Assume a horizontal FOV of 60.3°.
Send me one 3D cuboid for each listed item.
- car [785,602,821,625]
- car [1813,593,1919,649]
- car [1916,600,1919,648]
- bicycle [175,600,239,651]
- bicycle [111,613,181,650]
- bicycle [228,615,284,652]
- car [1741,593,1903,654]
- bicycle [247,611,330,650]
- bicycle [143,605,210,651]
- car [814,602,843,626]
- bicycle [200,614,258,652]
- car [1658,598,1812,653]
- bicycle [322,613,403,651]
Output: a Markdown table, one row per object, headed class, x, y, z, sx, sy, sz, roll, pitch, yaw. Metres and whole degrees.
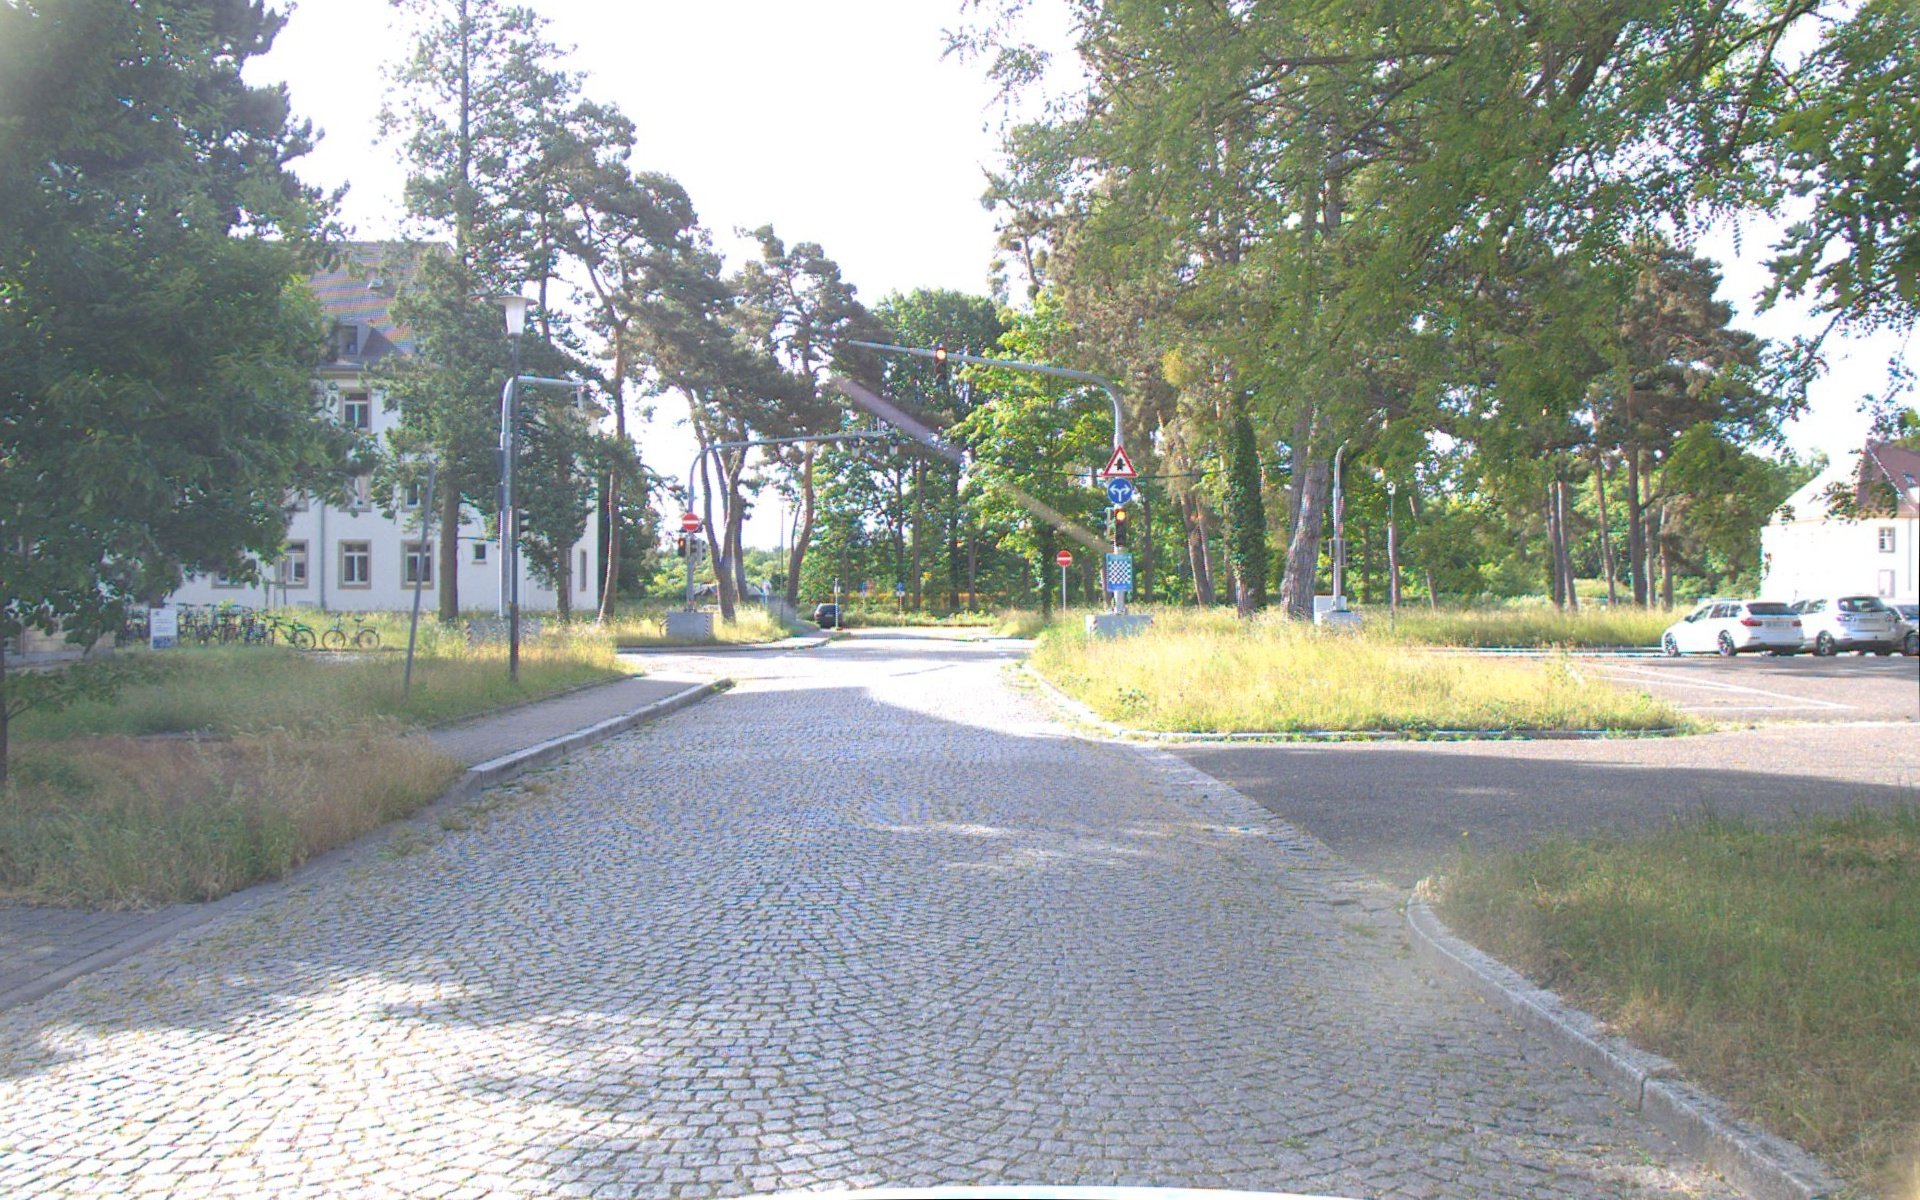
| class | x | y | z | sx | sy | sz | roll | pitch | yaw |
| --- | --- | --- | --- | --- | --- | --- | --- | --- | --- |
| car | -10.480 | 0.882 | 110.476 | 1.745 | 1.516 | 3.757 | 0 | 0 | 5 |
| car | 24.690 | 0.531 | 43.771 | 1.697 | 1.335 | 4.327 | -3 | 0 | -5 |
| car | 27.707 | 0.664 | 44.064 | 1.697 | 1.335 | 4.327 | -1 | 0 | -5 |
| bicycle | -22.432 | 0.738 | 49.324 | 0.809 | 1.462 | 2.553 | 0 | 0 | -2 |
| bicycle | -24.067 | 0.914 | 48.969 | 0.882 | 1.065 | 2.553 | 0 | 0 | -2 |
| bicycle | -20.881 | 0.982 | 49.075 | 0.809 | 1.065 | 2.123 | 0 | 0 | -2 |
| car | 22.472 | 0.581 | 43.312 | 1.697 | 1.502 | 4.327 | 0 | 0 | -5 |
| bicycle | -19.421 | 0.877 | 47.872 | 2.076 | 1.128 | 0.828 | 0 | 0 | -5 |
| bicycle | -23.182 | 0.814 | 48.998 | 0.809 | 1.303 | 2.553 | 0 | 0 | -2 |
| car | -8.372 | 0.891 | 105.715 | 1.808 | 1.512 | 3.997 | 0 | 0 | -4 |
| bicycle | -21.647 | 0.966 | 49.007 | 0.809 | 1.065 | 2.123 | 0 | 0 | -2 |
| car | 20.009 | 0.618 | 42.925 | 1.697 | 1.335 | 4.327 | 0 | 0 | -5 |
| bicycle | -17.340 | 0.919 | 48.033 | 2.076 | 1.065 | 0.828 | 0 | 0 | -5 |
